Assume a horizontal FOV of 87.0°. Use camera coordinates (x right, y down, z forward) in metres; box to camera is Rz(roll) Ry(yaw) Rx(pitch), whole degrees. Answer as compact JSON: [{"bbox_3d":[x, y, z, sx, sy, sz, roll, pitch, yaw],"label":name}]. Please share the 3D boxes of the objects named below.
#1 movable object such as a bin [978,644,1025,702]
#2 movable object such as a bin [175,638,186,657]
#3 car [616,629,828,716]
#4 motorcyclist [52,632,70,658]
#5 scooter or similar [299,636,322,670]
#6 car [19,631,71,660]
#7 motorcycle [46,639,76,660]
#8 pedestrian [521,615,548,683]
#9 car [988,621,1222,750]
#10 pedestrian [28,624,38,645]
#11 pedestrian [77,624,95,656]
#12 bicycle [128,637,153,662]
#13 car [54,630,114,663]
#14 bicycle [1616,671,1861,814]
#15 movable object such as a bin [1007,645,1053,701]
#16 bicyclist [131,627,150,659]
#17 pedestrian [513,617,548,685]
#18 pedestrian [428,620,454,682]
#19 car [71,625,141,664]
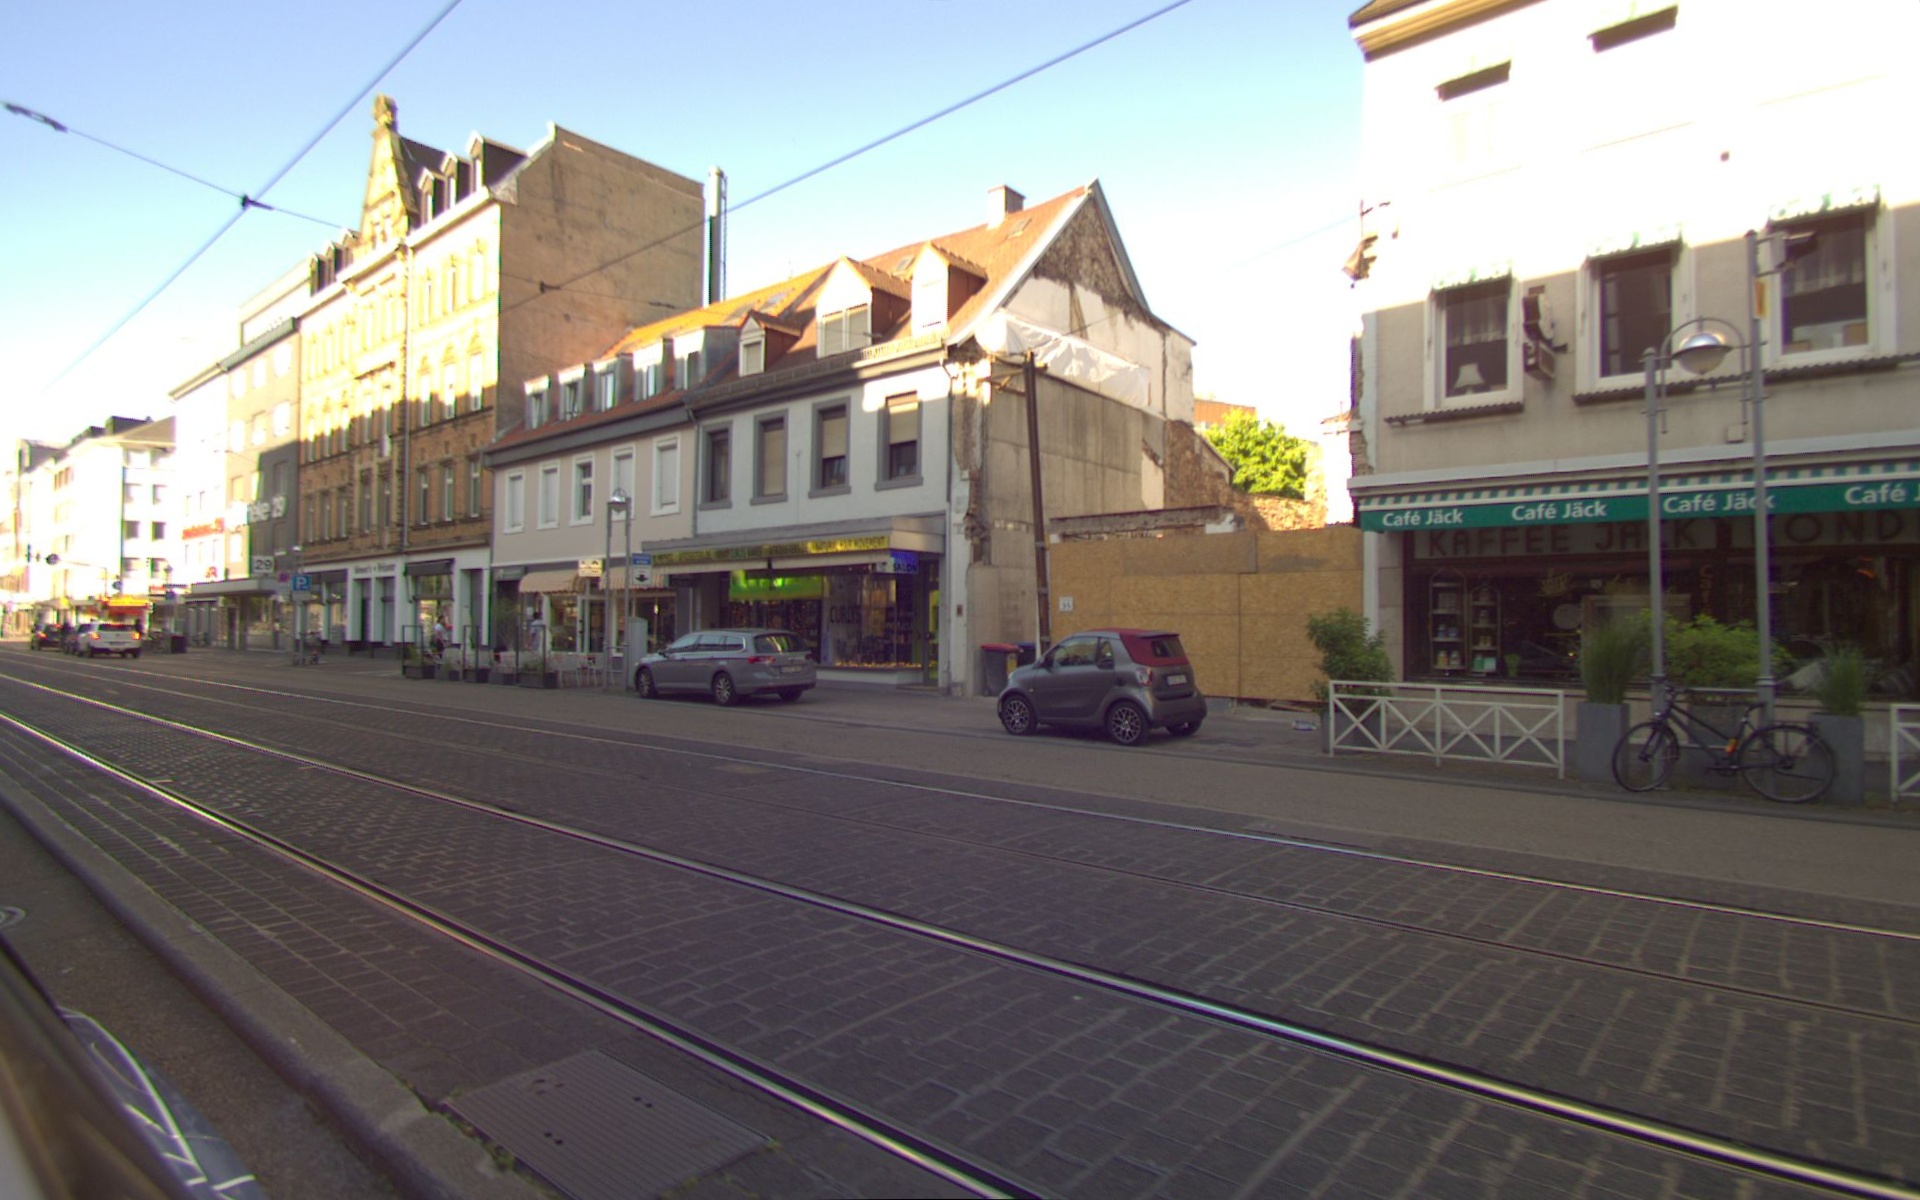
[{"bbox_3d":[0.847,1.473,20.537,0.696,1.102,0.653,-1,0,41],"label":"movable object such as a bin"},{"bbox_3d":[-40.591,2.479,52.700,0.467,0.955,0.321,-2,-2,41],"label":"movable object such as a bin"},{"bbox_3d":[-4.957,1.382,20.669,4.760,1.526,1.798,-1,-1,41],"label":"car"},{"bbox_3d":[-46.438,2.329,52.266,0.655,1.313,0.533,-1,-4,41],"label":"motorcyclist"},{"bbox_3d":[-24.544,2.001,38.215,1.201,1.232,0.399,-1,0,41],"label":"scooter or similar"},{"bbox_3d":[-50.359,2.493,55.679,3.998,1.542,1.645,-1,-3,41],"label":"car"},{"bbox_3d":[-46.441,2.555,52.285,1.934,1.000,0.895,-1,-3,41],"label":"motorcycle"},{"bbox_3d":[-11.916,1.366,28.370,0.647,1.863,0.583,-1,0,-19],"label":"pedestrian"},{"bbox_3d":[2.044,1.123,14.525,2.890,1.616,1.679,-1,-1,41],"label":"car"},{"bbox_3d":[-89.907,3.360,98.140,0.620,1.965,0.661,-1,0,41],"label":"pedestrian"},{"bbox_3d":[-51.418,2.351,59.538,0.635,1.855,0.696,-1,0,41],"label":"pedestrian"},{"bbox_3d":[-40.690,2.441,50.264,2.099,1.157,0.603,-1,0,41],"label":"bicycle"},{"bbox_3d":[-43.051,2.275,49.701,3.998,1.542,1.645,-1,-3,41],"label":"car"},{"bbox_3d":[7.026,1.243,9.202,1.715,1.098,0.513,-1,0,41],"label":"bicycle"},{"bbox_3d":[1.474,1.504,21.160,0.696,1.102,0.653,-1,0,41],"label":"movable object such as a bin"},{"bbox_3d":[-40.744,2.114,50.304,0.861,1.559,0.569,-1,0,41],"label":"bicyclist"},{"bbox_3d":[-11.568,1.363,27.259,0.580,1.775,0.651,-1,0,33],"label":"pedestrian"},{"bbox_3d":[-15.632,1.511,30.483,0.572,1.819,0.660,-1,0,-38],"label":"pedestrian"},{"bbox_3d":[-37.859,1.962,44.856,3.674,1.647,1.779,-1,-3,41],"label":"car"}]
